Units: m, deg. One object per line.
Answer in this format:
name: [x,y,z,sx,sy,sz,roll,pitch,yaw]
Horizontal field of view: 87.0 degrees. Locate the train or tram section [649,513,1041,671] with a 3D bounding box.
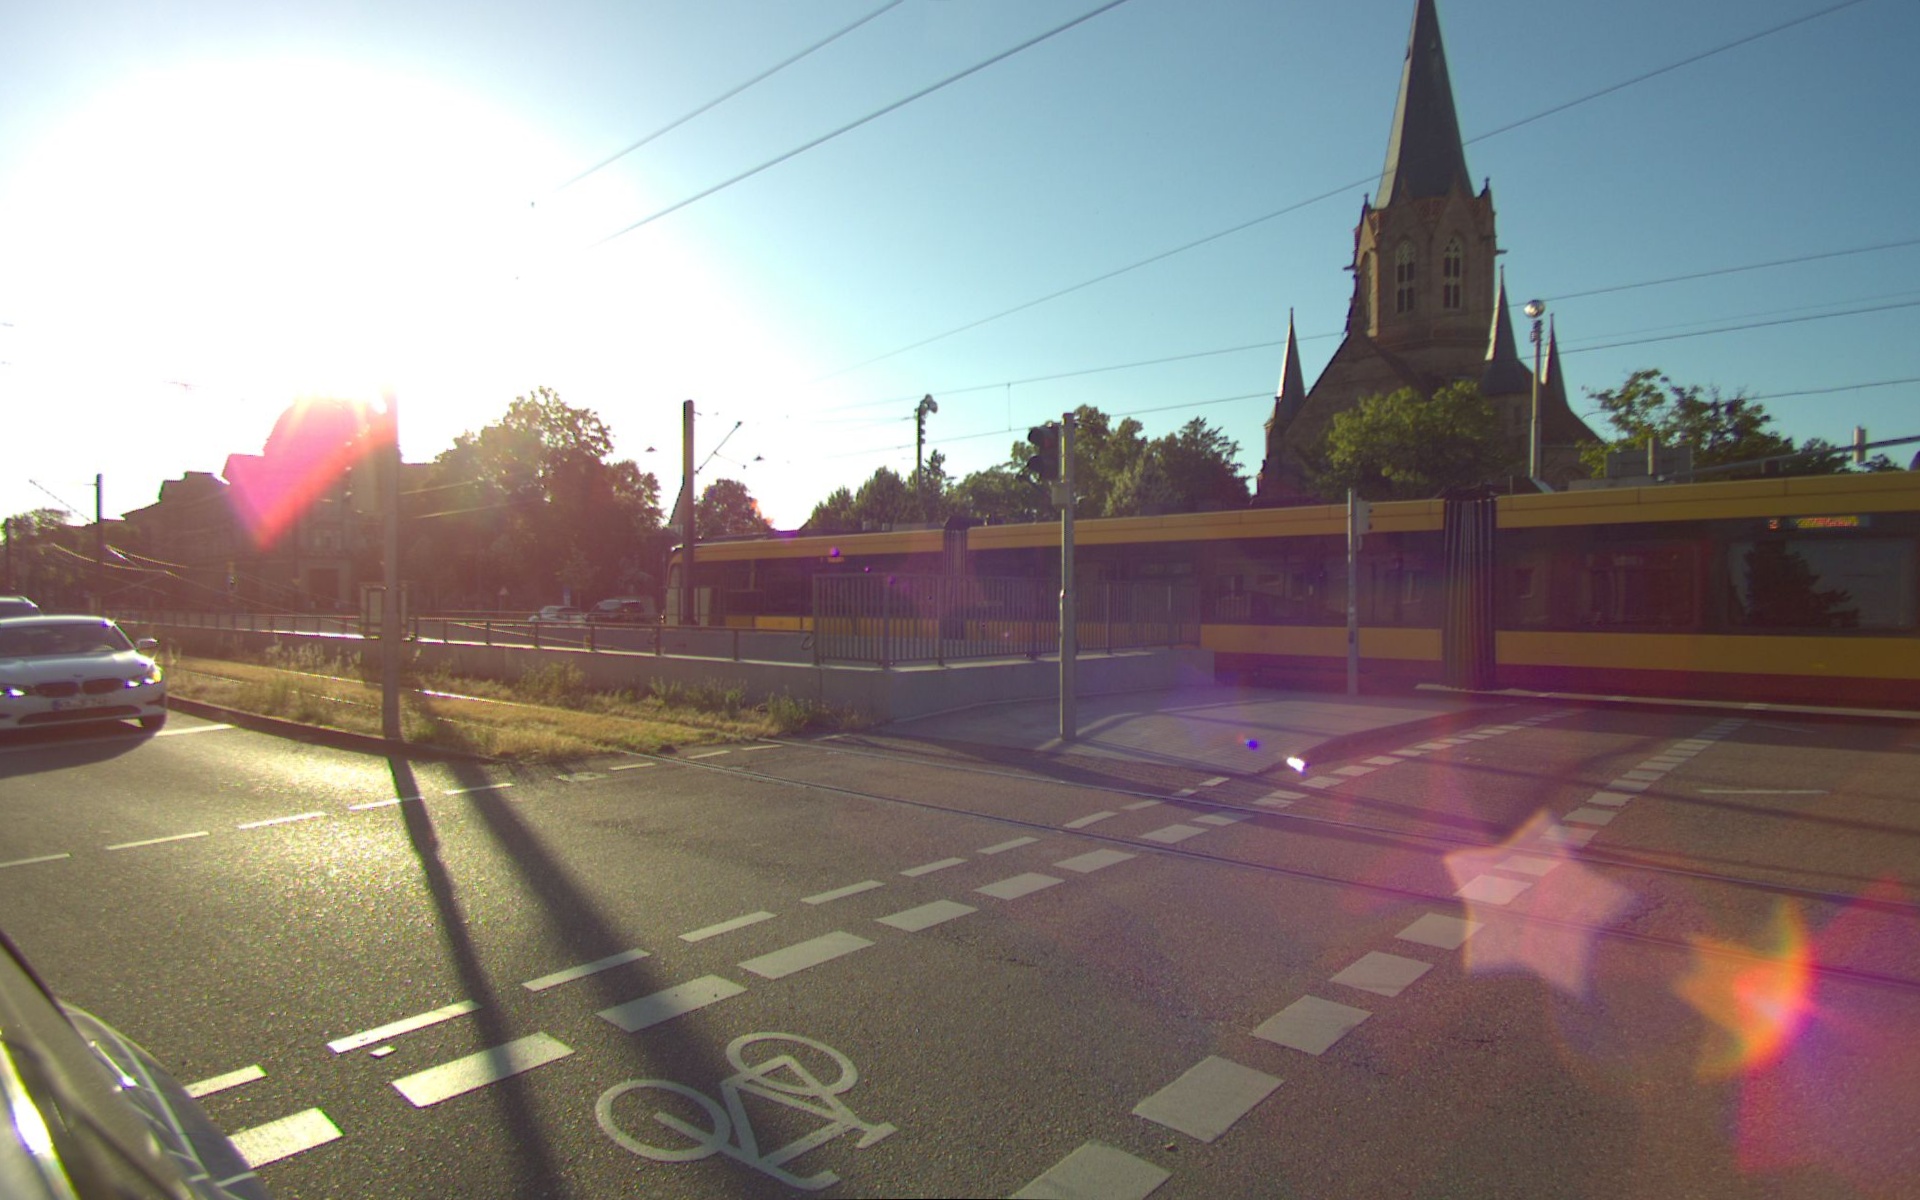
train or tram section: [-3.855,-0.147,28.263,13.246,3.563,2.744,-1,0,42]

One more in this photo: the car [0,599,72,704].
car: [-17.996,0.902,18.543,4.849,1.725,1.931,-1,2,41]

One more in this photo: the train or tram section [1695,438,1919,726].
train or tram section: [15.017,-0.246,11.510,10.567,3.563,2.744,-1,0,42]

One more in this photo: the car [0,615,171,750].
car: [-12.009,0.961,13.288,4.583,1.411,1.818,-1,2,42]

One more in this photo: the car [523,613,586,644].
car: [-21.392,1.455,53.341,3.673,1.552,1.692,-1,0,43]

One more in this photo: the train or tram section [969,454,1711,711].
train or tram section: [6.064,-0.198,19.439,13.246,3.563,2.744,-1,0,42]

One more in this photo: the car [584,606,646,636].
car: [-20.134,1.185,59.037,4.089,1.707,1.692,-1,0,43]

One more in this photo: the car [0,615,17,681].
car: [-22.650,1.083,22.703,3.918,1.411,1.792,-1,2,42]
